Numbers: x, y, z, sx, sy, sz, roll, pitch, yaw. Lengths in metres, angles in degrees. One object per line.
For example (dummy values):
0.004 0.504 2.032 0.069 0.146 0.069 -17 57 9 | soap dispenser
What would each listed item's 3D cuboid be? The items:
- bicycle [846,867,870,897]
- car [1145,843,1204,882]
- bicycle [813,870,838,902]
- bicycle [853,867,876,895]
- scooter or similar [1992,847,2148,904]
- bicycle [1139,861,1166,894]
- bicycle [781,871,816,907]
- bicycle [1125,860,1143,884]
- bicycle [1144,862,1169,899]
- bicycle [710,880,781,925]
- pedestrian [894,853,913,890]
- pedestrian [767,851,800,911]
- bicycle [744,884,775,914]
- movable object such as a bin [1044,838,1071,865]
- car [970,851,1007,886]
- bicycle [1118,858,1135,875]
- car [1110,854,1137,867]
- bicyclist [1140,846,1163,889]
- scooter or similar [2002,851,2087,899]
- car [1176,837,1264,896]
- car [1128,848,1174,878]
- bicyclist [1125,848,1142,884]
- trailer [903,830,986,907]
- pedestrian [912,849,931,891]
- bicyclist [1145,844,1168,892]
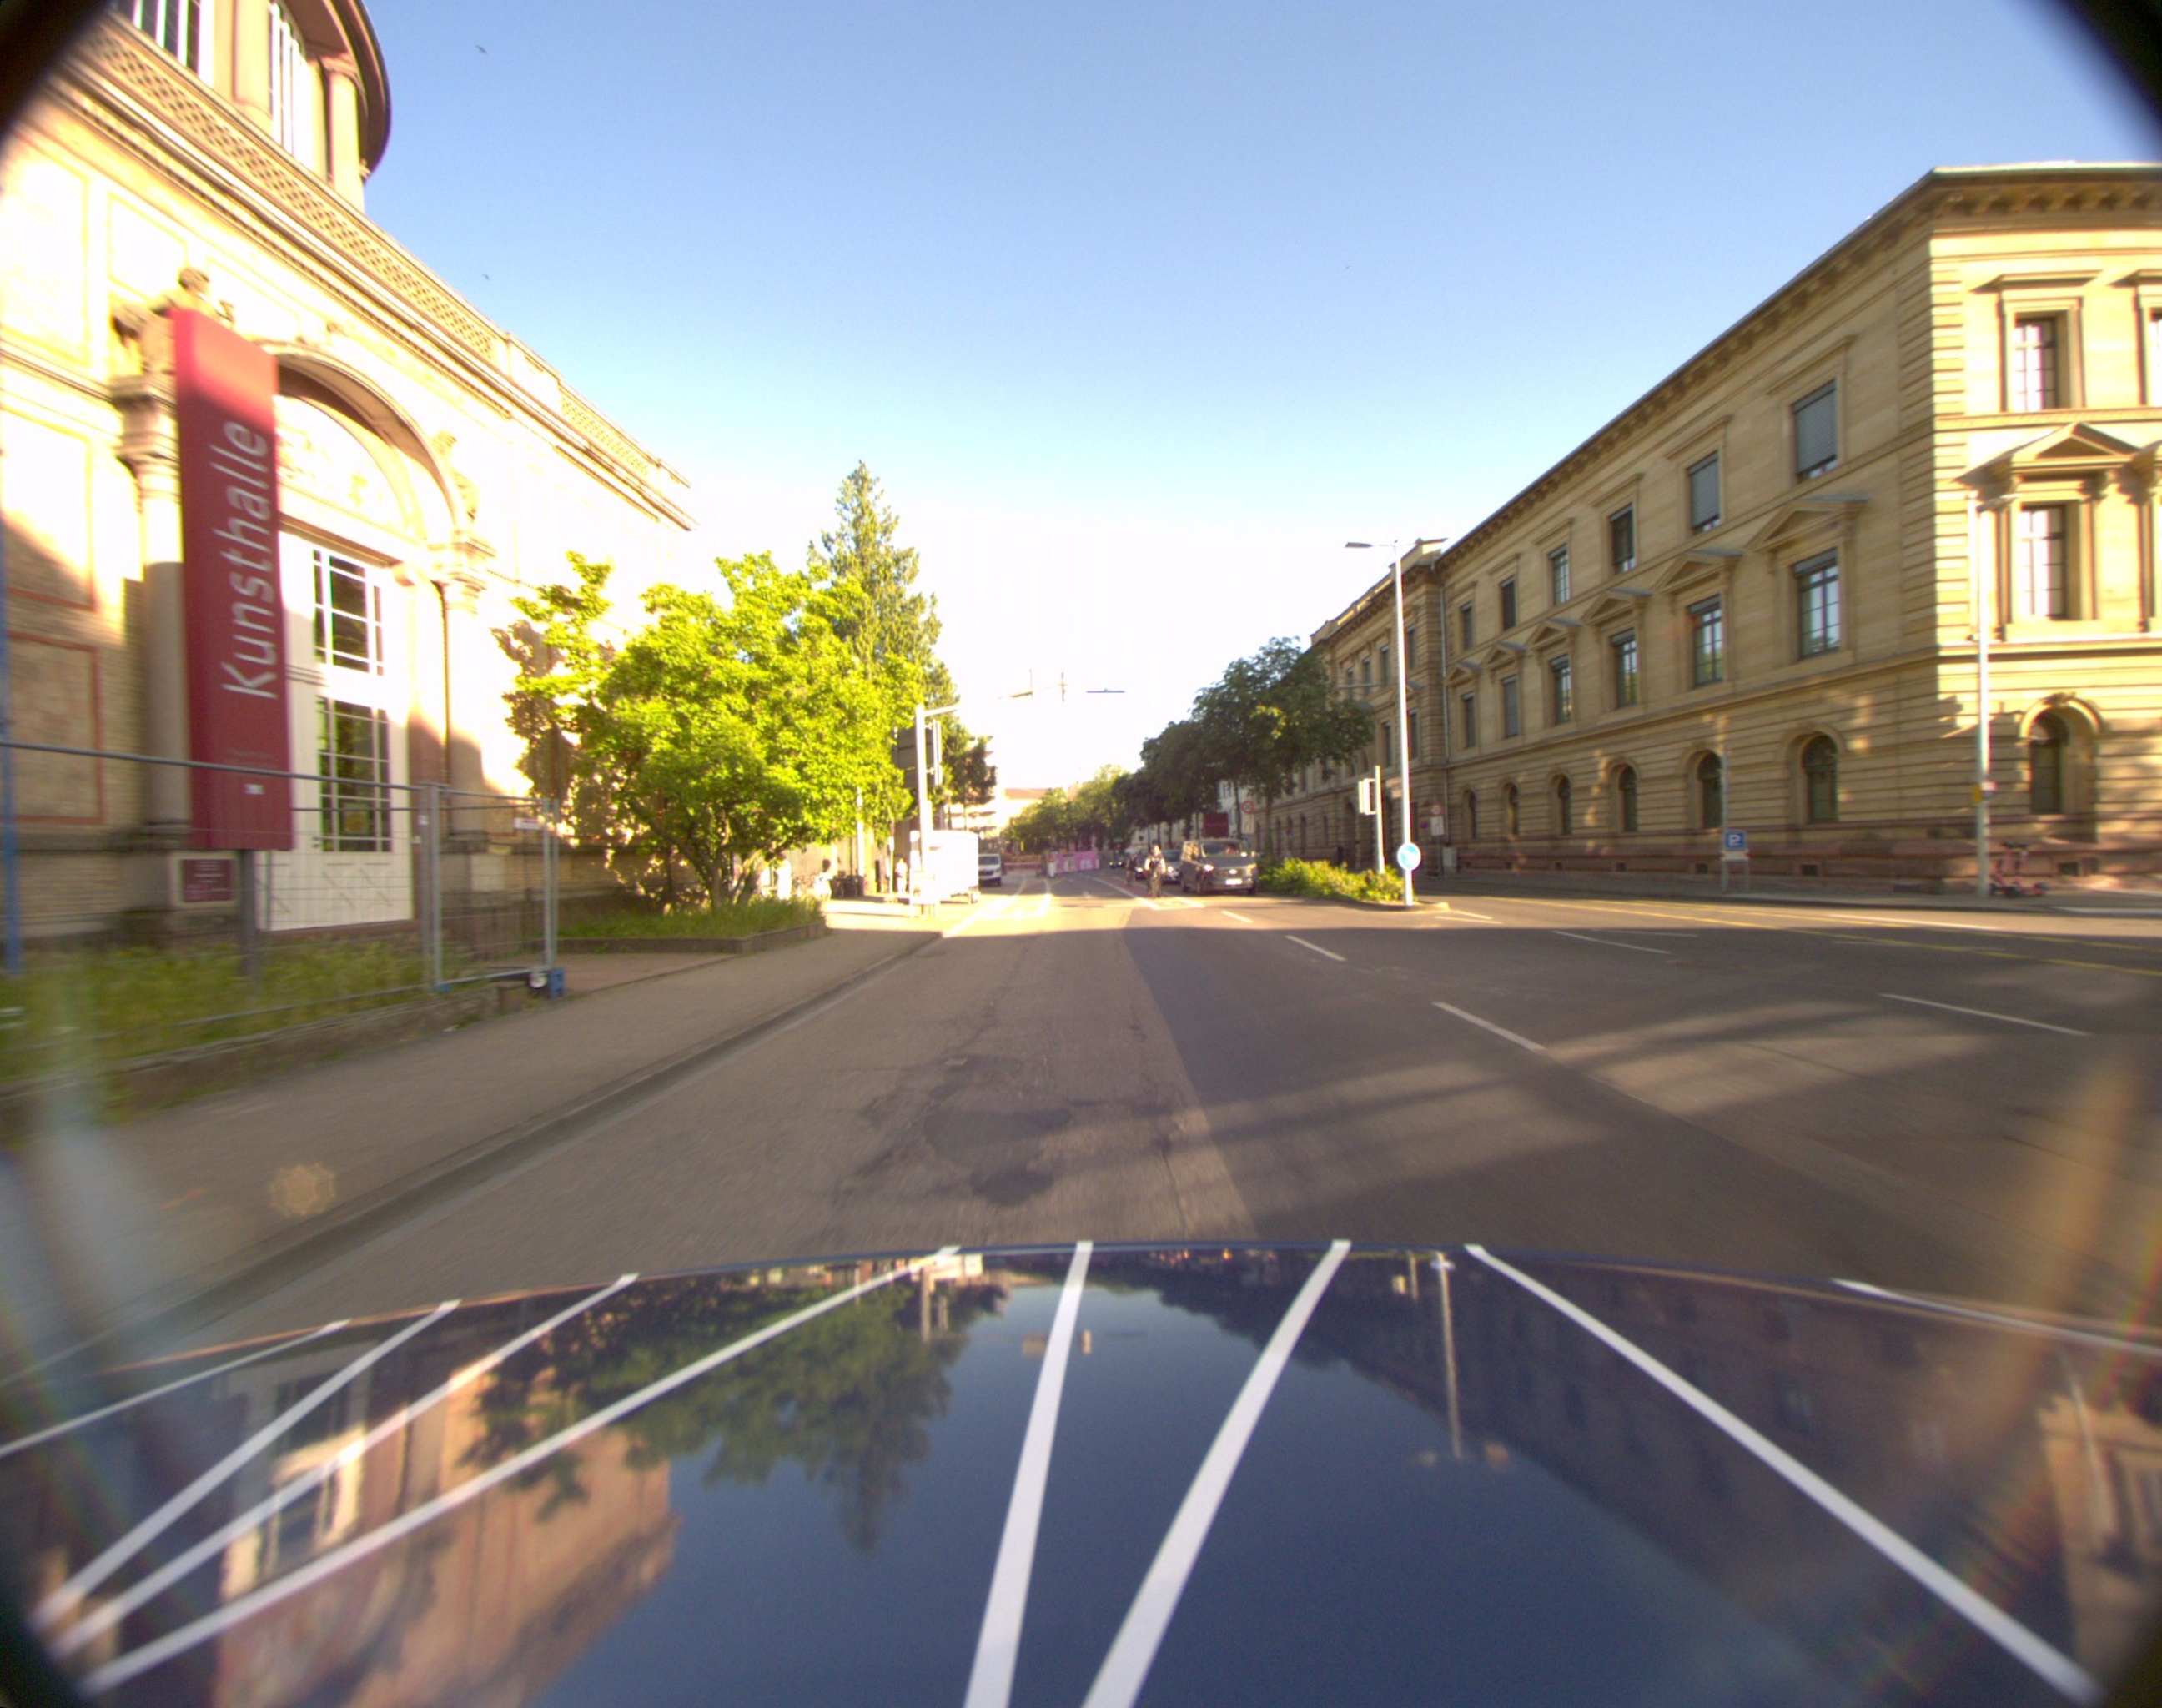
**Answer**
-8.933 1.111 30.475 0.396 1.123 1.928 -1 0 -1 | bicycle
4.517 0.407 37.340 1.997 1.739 4.746 -1 0 -4 | car
-9.276 1.146 27.629 0.274 1.099 1.532 0 0 4 | bicycle
-9.387 1.168 33.042 0.419 1.149 1.826 1 0 2 | bicycle
21.128 0.464 16.285 2.028 1.181 0.457 -1 0 28 | scooter or similar
2.662 0.864 28.554 0.830 1.136 1.970 -2 0 1 | bicycle
-9.229 1.129 24.855 0.399 1.099 1.681 0 0 4 | bicycle
2.496 0.819 35.907 0.670 1.066 1.753 -2 0 0 | bicycle
2.554 0.886 25.755 0.643 1.148 2.077 -2 0 1 | bicycle
-8.024 1.164 18.216 1.470 1.033 0.479 -1 0 -1 | bicycle
-8.098 0.785 34.665 0.684 1.691 0.693 0 0 -2 | pedestrian
-8.947 0.800 22.856 0.641 1.758 0.737 -1 0 2 | pedestrian
-9.381 1.293 22.178 0.265 0.789 1.451 -1 0 0 | bicycle
-2.918 -0.300 93.615 3.171 3.281 4.384 -1 0 -4 | movable object such as a bin
-5.617 0.803 46.521 2.020 1.934 5.478 -3 1 -6 | car
3.059 0.819 50.969 0.872 1.036 2.453 -3 0 -1 | bicycle
4.643 0.706 82.453 1.550 1.288 3.645 2 1 26 | car
2.645 0.496 28.541 0.805 1.599 0.825 -1 1 1 | bicyclist
21.575 0.462 17.021 1.330 1.046 0.393 -1 0 3 | scooter or similar
4.874 0.379 27.402 2.073 1.904 5.032 -1 1 -2 | car
4.120 0.500 45.556 1.999 1.648 4.735 -1 0 -3 | car
2.493 0.570 35.865 0.674 1.643 0.887 -2 1 -1 | bicyclist
-4.740 0.471 27.020 2.084 2.513 4.492 0 0 0 | trailer
-7.336 0.731 34.904 0.717 1.883 0.889 -1 0 -3 | pedestrian
2.551 0.459 25.786 0.672 1.599 0.825 -1 1 2 | bicyclist
